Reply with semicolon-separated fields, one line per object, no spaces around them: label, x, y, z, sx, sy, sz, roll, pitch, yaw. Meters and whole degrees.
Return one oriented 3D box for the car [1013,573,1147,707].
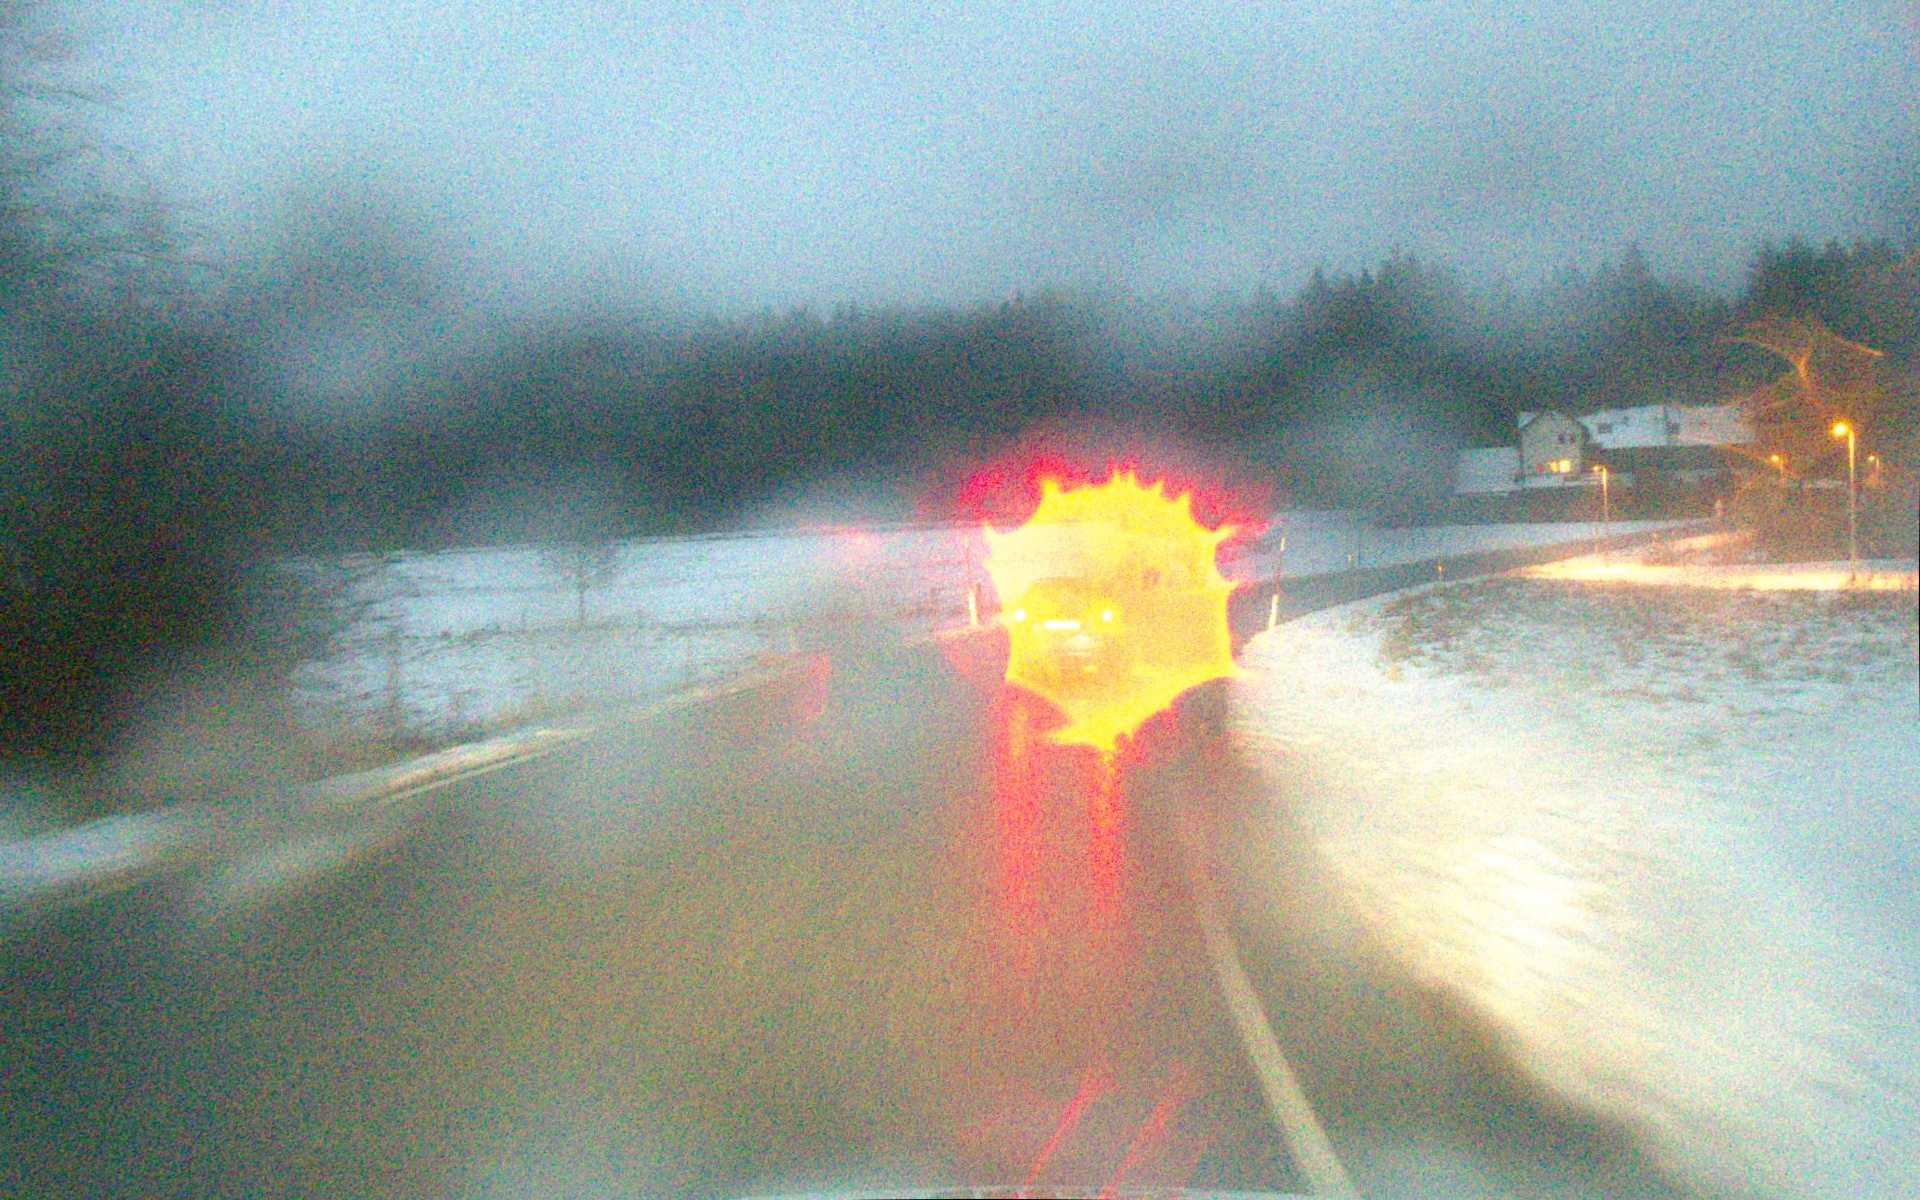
car;1.754;0.552;25.116;1.785;1.828;3.578;-2;0;1
